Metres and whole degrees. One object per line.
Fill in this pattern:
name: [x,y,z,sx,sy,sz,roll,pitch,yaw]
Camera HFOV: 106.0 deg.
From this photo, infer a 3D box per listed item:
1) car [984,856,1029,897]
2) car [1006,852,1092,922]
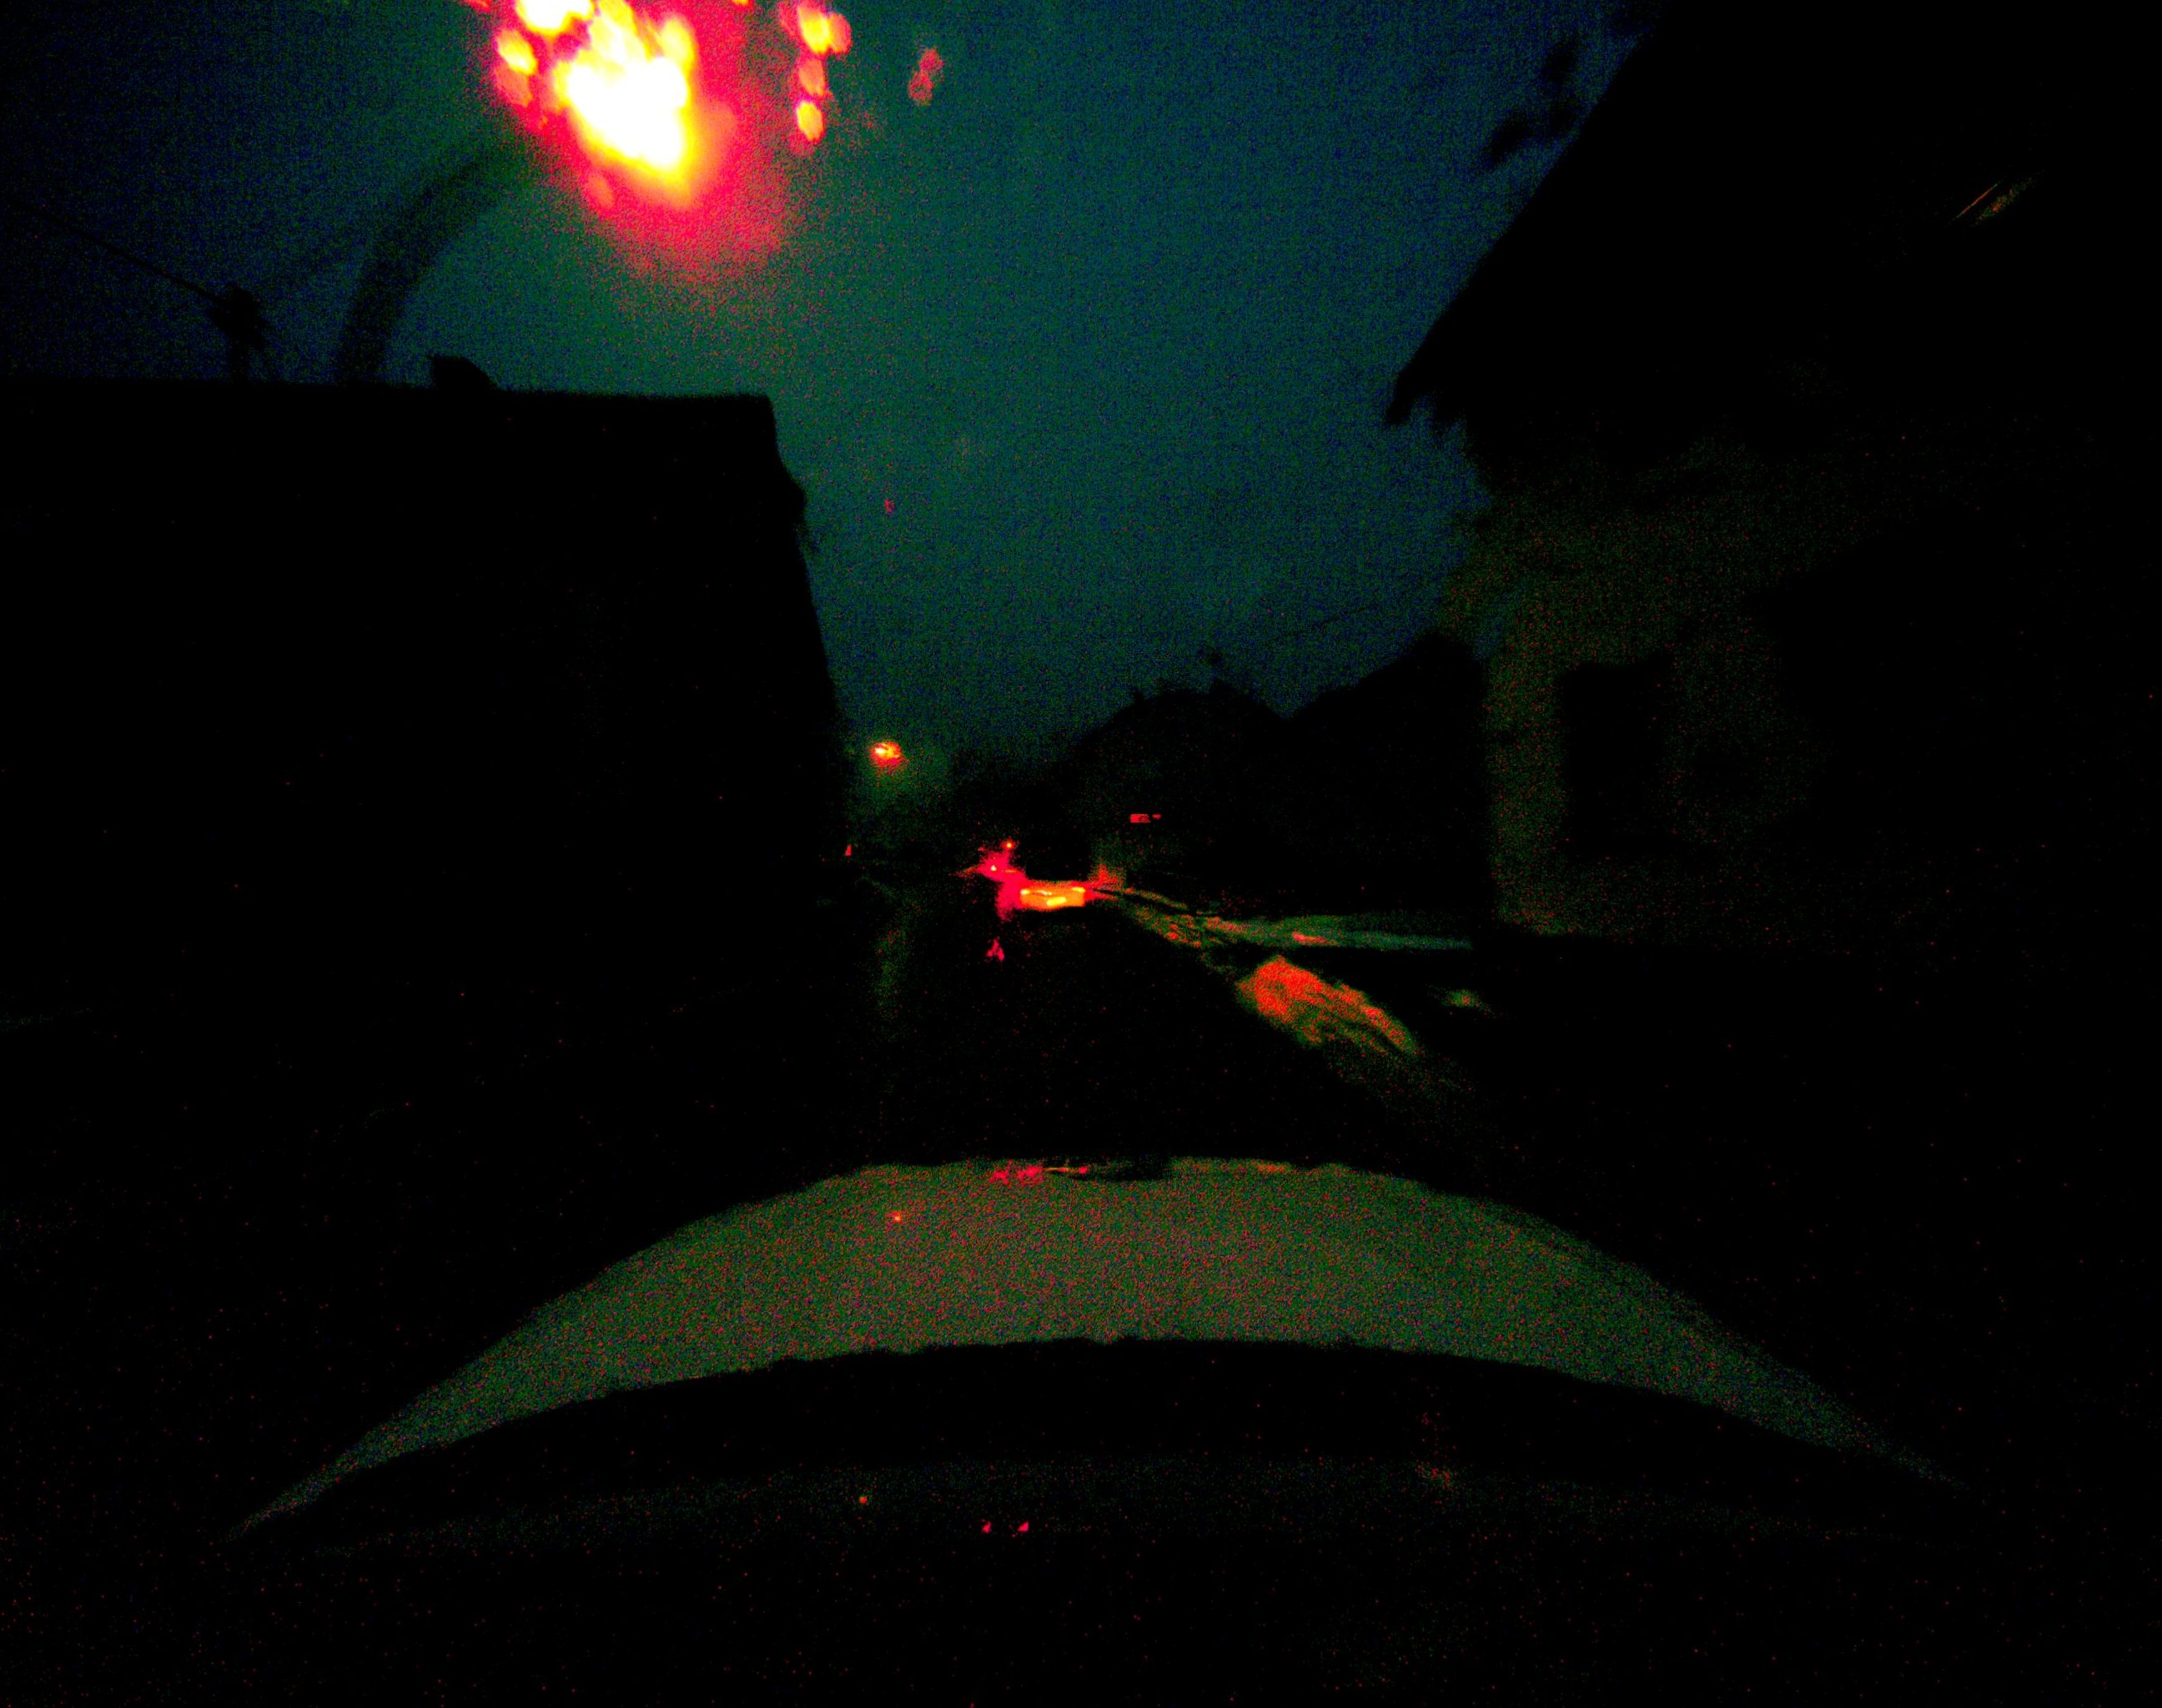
car: [-3.143,0.932,33.894,1.645,1.596,3.687,1,-2,-9]
car: [-0.893,0.823,20.586,1.646,1.596,3.685,1,-2,-11]
